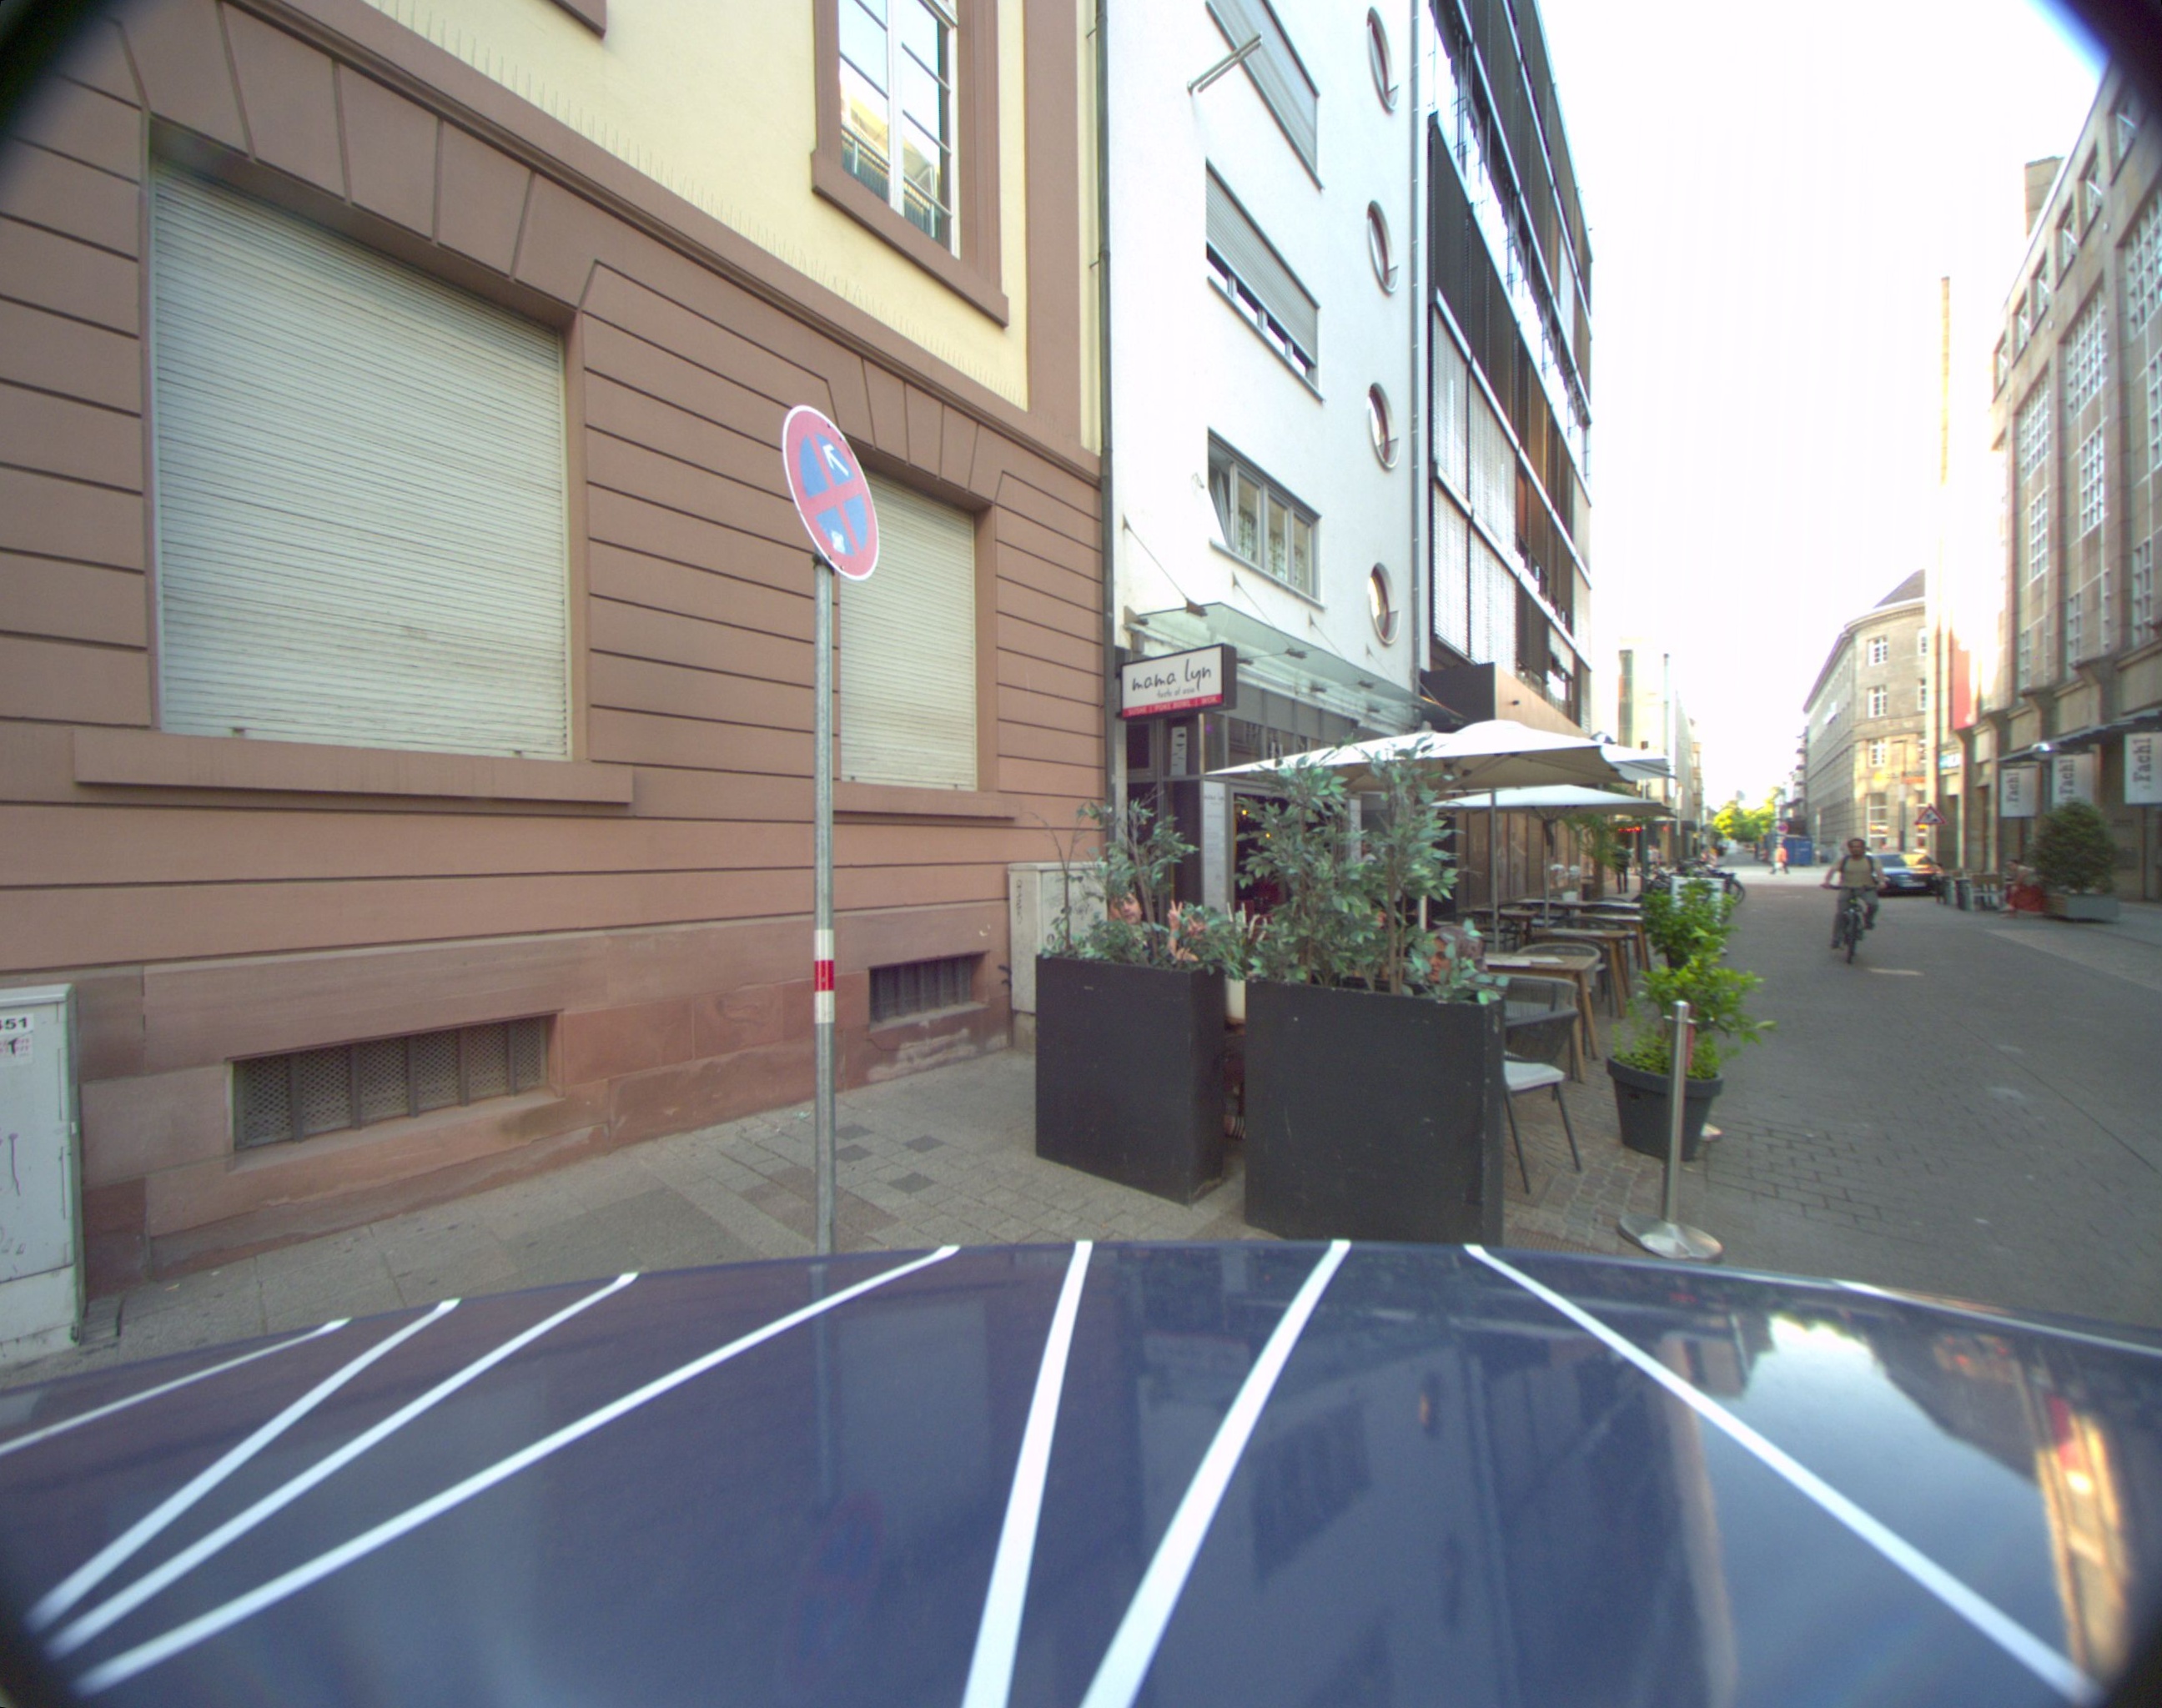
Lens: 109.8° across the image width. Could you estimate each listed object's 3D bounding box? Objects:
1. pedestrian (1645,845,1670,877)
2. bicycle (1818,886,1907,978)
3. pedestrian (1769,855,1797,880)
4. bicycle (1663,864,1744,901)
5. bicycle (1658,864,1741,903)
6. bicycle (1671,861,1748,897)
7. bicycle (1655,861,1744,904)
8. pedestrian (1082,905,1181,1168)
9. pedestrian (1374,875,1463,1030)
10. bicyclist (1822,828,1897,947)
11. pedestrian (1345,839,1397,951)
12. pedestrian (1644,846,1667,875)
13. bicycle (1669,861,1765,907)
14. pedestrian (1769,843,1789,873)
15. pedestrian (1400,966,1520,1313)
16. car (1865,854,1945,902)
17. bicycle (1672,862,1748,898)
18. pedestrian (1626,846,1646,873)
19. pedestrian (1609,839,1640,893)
[{"bbox_3d":[29.412,0.330,38.792,0.782,1.612,0.636,-1,2,1],"label":"pedestrian"},{"bbox_3d":[11.326,1.077,11.068,0.698,1.121,2.009,0,0,40],"label":"bicycle"},{"bbox_3d":[45.516,0.874,49.247,0.993,1.563,0.919,-1,1,-6],"label":"pedestrian"},{"bbox_3d":[20.464,0.931,25.002,2.034,1.161,0.620,0,1,40],"label":"bicycle"},{"bbox_3d":[19.690,0.920,24.211,2.034,1.161,0.620,0,1,40],"label":"bicycle"},{"bbox_3d":[21.502,0.836,26.032,2.034,1.161,0.620,0,1,40],"label":"bicycle"},{"bbox_3d":[18.856,0.853,23.194,2.033,1.161,0.620,3,3,40],"label":"bicycle"},{"bbox_3d":[0.284,0.949,4.157,0.362,1.298,0.496,0,1,27],"label":"pedestrian"},{"bbox_3d":[3.380,0.937,7.591,0.574,1.412,0.870,0,1,42],"label":"pedestrian"},{"bbox_3d":[11.355,0.465,11.107,0.674,1.660,0.871,0,1,40],"label":"bicyclist"},{"bbox_3d":[4.706,0.643,12.325,0.638,1.762,0.603,0,1,36],"label":"pedestrian"},{"bbox_3d":[32.508,0.384,42.990,0.636,1.612,0.782,-1,2,-8],"label":"pedestrian"},{"bbox_3d":[18.245,0.841,21.844,2.033,1.161,0.667,3,3,40],"label":"bicycle"},{"bbox_3d":[37.576,0.207,40.906,0.763,1.628,0.670,1,2,41],"label":"pedestrian"},{"bbox_3d":[1.535,1.095,3.068,0.399,1.206,0.384,0,1,31],"label":"pedestrian"},{"bbox_3d":[26.733,0.715,24.737,1.599,1.414,3.611,0,0,45],"label":"car"},{"bbox_3d":[22.017,0.905,26.623,2.034,1.209,0.620,0,1,40],"label":"bicycle"},{"bbox_3d":[31.521,0.290,43.155,0.637,1.516,0.781,-2,2,-39],"label":"pedestrian"},{"bbox_3d":[18.618,0.405,26.022,0.802,1.825,0.676,0,1,43],"label":"pedestrian"}]
